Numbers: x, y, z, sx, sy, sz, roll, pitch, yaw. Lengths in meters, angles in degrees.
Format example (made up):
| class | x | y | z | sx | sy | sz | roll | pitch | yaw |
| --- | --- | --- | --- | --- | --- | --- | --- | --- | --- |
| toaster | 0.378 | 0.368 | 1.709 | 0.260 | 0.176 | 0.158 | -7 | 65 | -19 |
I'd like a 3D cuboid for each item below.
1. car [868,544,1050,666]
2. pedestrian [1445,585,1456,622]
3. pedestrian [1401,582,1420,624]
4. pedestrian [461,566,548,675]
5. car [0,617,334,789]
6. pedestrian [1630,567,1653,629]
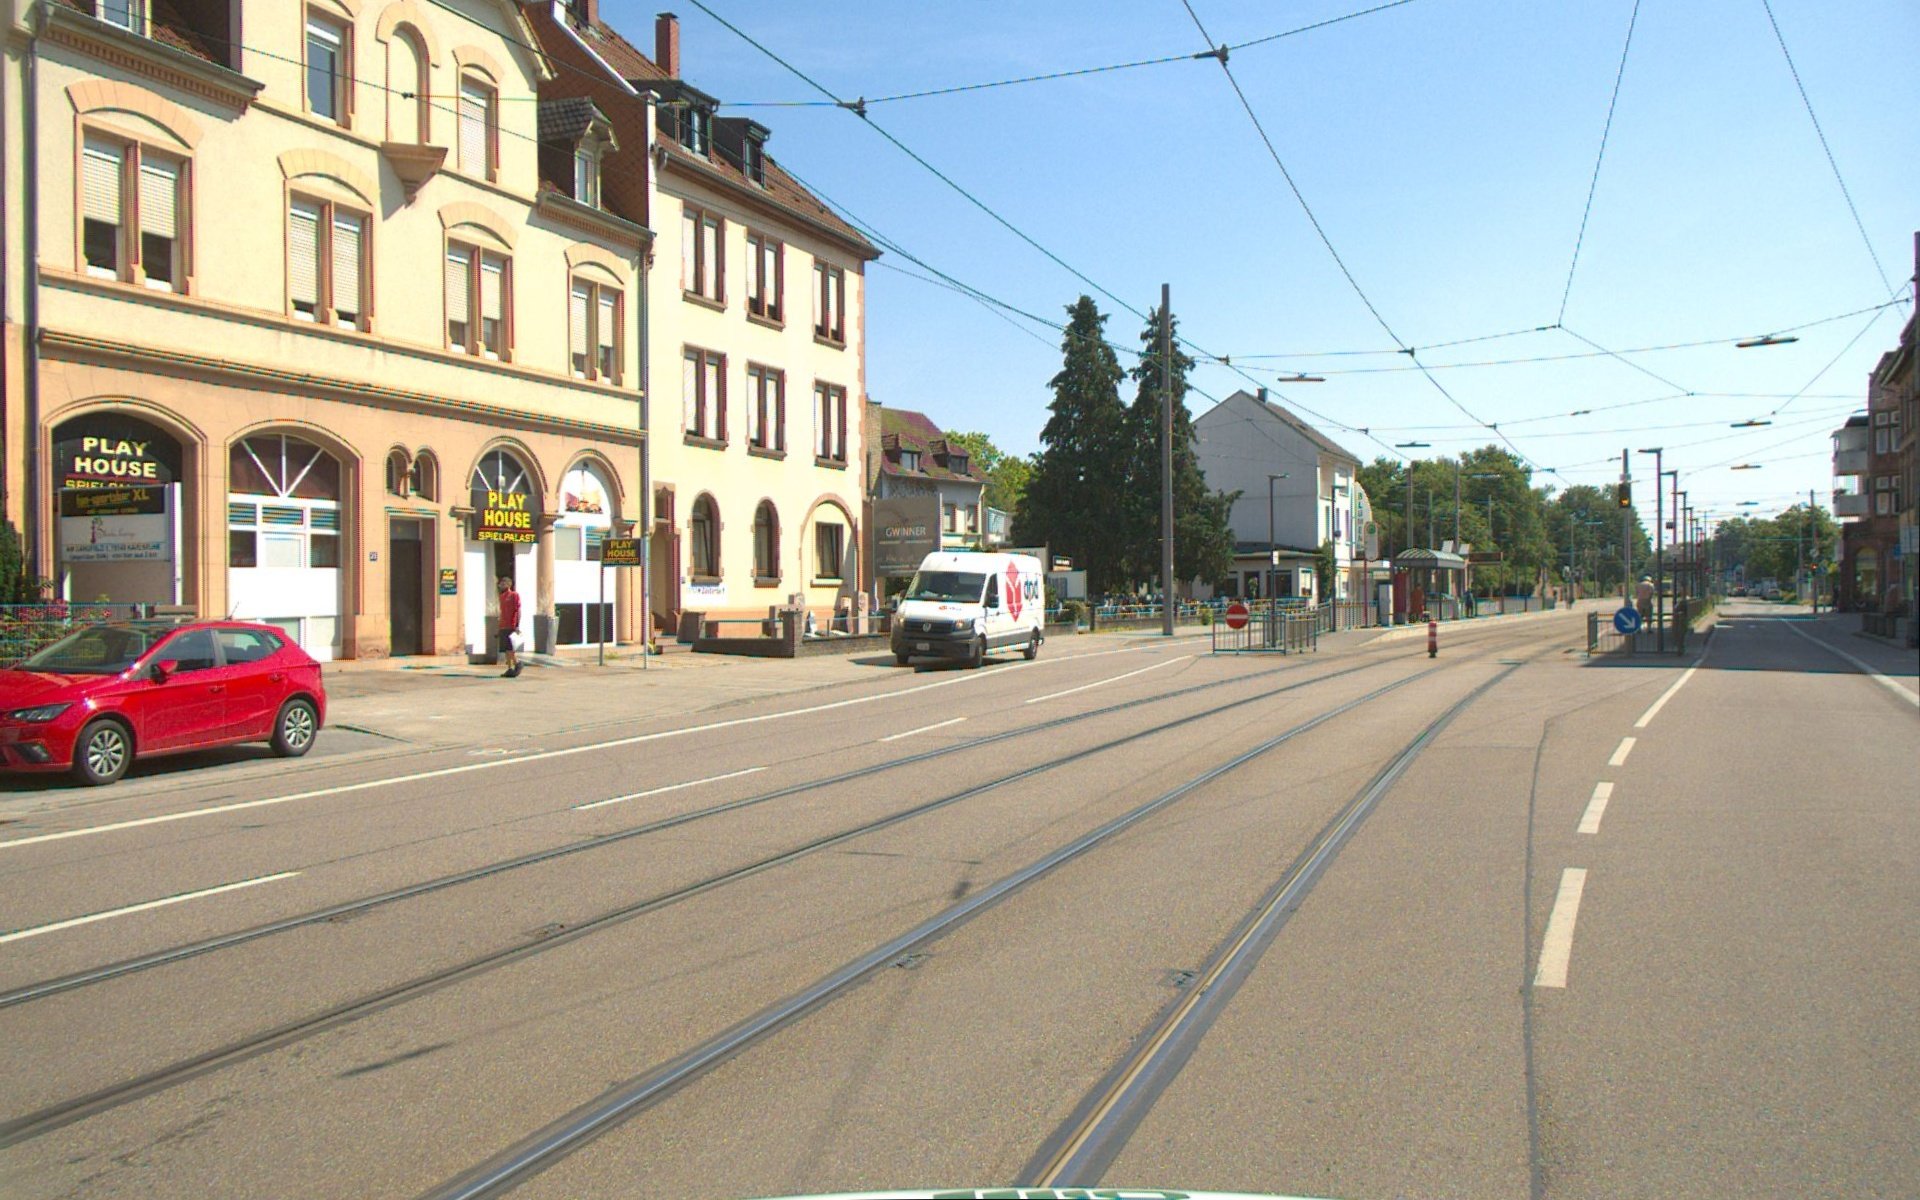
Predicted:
| class | x | y | z | sx | sy | sz | roll | pitch | yaw |
| --- | --- | --- | --- | --- | --- | --- | --- | --- | --- |
| car | 0.125 | 0.067 | 39.047 | 2.281 | 2.580 | 6.509 | 1 | 1 | 19 |
| pedestrian | 23.030 | 0.156 | 77.719 | 0.406 | 1.719 | 0.708 | -1 | 0 | 11 |
| pedestrian | 18.479 | 0.108 | 67.815 | 0.690 | 1.719 | 0.416 | -1 | 0 | 17 |
| pedestrian | -7.906 | 0.347 | 28.744 | 0.925 | 1.847 | 1.127 | -1 | 0 | 33 |
| car | -8.310 | 0.929 | 16.540 | 1.684 | 1.431 | 4.003 | -1 | 0 | 18 |
| pedestrian | 20.028 | -0.053 | 48.608 | 0.544 | 1.791 | 0.794 | -1 | 0 | 19 |
